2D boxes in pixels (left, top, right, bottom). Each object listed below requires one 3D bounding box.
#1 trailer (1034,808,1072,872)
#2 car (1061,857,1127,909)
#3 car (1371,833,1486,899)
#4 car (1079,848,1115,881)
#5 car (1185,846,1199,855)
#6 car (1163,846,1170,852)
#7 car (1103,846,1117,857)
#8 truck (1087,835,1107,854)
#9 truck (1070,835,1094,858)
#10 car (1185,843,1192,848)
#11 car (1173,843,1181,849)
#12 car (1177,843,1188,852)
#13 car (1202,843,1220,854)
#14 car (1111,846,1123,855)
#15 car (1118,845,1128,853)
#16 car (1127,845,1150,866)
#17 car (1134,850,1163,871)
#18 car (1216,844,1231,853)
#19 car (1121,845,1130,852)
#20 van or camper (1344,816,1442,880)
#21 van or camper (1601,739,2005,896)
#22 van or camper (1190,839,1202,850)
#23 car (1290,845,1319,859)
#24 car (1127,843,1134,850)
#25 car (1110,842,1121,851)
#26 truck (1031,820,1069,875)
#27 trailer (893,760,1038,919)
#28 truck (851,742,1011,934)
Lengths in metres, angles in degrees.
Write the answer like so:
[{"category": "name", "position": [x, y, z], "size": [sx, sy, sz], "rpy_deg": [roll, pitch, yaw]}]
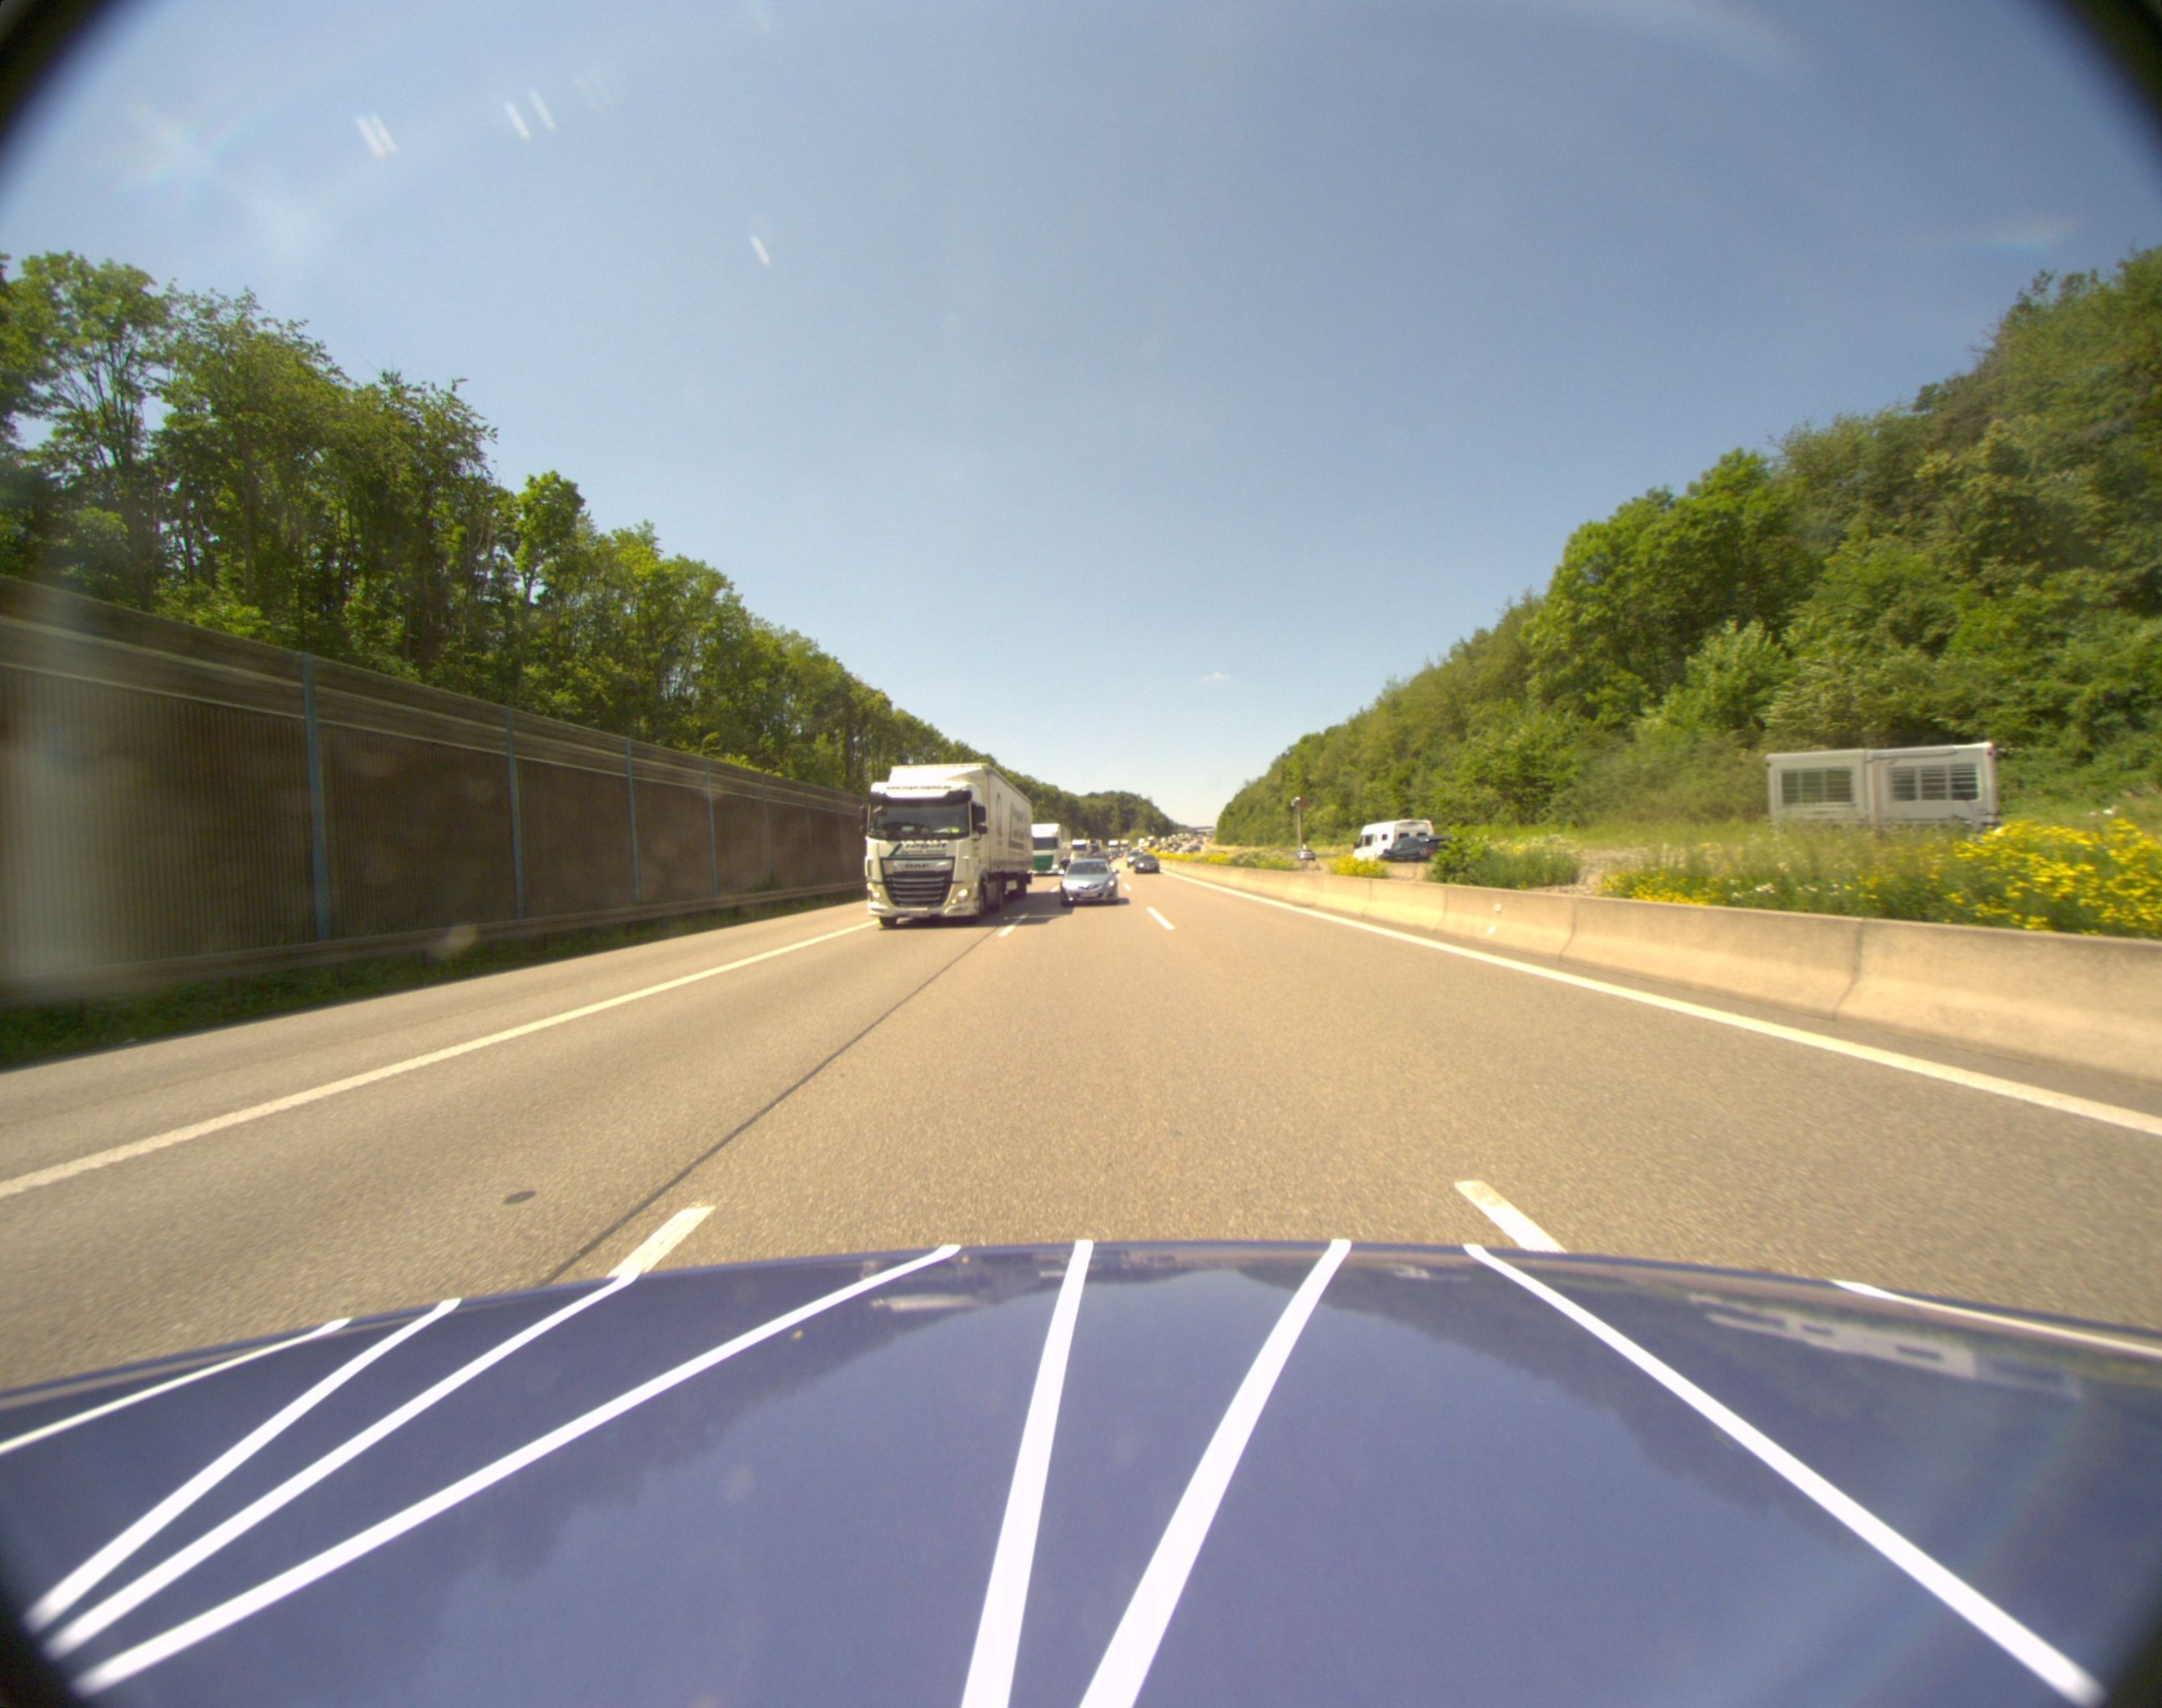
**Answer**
[{"category": "trailer", "position": [-2.281, -1.293, 68.046], "size": [2.574, 5.012, 15.267], "rpy_deg": [-2, 1, 1]}, {"category": "car", "position": [0.375, 0.859, 24.732], "size": [1.887, 1.459, 4.247], "rpy_deg": [-2, 0, 0]}, {"category": "car", "position": [11.292, 0.358, 25.014], "size": [1.998, 1.914, 4.000], "rpy_deg": [-2, 0, 2]}, {"category": "car", "position": [0.915, 0.552, 42.291], "size": [1.887, 1.696, 4.084], "rpy_deg": [-2, 0, 2]}, {"category": "car", "position": [20.949, -0.697, 143.264], "size": [1.998, 1.581, 4.162], "rpy_deg": [-2, 1, 1]}, {"category": "car", "position": [23.214, -1.355, 206.376], "size": [1.812, 1.477, 3.856], "rpy_deg": [-2, 0, 4]}, {"category": "car", "position": [4.624, -0.413, 120.819], "size": [1.998, 1.728, 4.000], "rpy_deg": [-2, 2, 4]}, {"category": "truck", "position": [3.190, -1.957, 152.073], "size": [3.557, 3.695, 7.551], "rpy_deg": [-2, 2, 4]}, {"category": "truck", "position": [0.203, -1.226, 119.694], "size": [3.262, 3.337, 6.863], "rpy_deg": [-2, 2, 5]}, {"category": "car", "position": [36.088, -2.969, 255.046], "size": [1.997, 1.607, 4.486], "rpy_deg": [-2, 0, 9]}, {"category": "car", "position": [29.849, -2.597, 236.744], "size": [1.998, 1.681, 4.401], "rpy_deg": [-2, 2, 4]}, {"category": "car", "position": [23.552, -1.559, 176.303], "size": [1.998, 2.002, 4.567], "rpy_deg": [-2, 2, 4]}, {"category": "car", "position": [18.761, -0.801, 110.088], "size": [1.998, 1.577, 4.273], "rpy_deg": [-2, 1, 2]}, {"category": "car", "position": [6.975, -0.702, 146.260], "size": [1.998, 1.728, 4.001], "rpy_deg": [-2, 2, 6]}, {"category": "car", "position": [9.442, -1.171, 171.436], "size": [1.997, 1.728, 4.001], "rpy_deg": [-2, 2, 8]}, {"category": "car", "position": [5.912, 0.112, 78.471], "size": [1.999, 2.002, 3.999], "rpy_deg": [-2, 2, 0]}, {"category": "car", "position": [5.049, 0.473, 56.985], "size": [1.720, 1.470, 3.999], "rpy_deg": [-2, 1, 0]}, {"category": "car", "position": [23.567, -0.910, 125.391], "size": [1.792, 1.448, 3.999], "rpy_deg": [-2, 1, 2]}, {"category": "car", "position": [11.345, -1.337, 194.904], "size": [1.998, 1.728, 4.001], "rpy_deg": [-2, 2, 6]}, {"category": "van or camper", "position": [15.556, -0.308, 38.392], "size": [2.263, 2.882, 6.556], "rpy_deg": [-2, 0, 1]}, {"category": "van or camper", "position": [18.655, -0.891, 20.889], "size": [2.546, 3.299, 9.000], "rpy_deg": [-2, 1, 0]}, {"category": "van or camper", "position": [28.459, -2.421, 187.621], "size": [2.191, 2.546, 6.931], "rpy_deg": [-2, 1, 3]}, {"category": "car", "position": [24.446, -0.215, 83.311], "size": [1.998, 1.424, 4.191], "rpy_deg": [-2, 0, 1]}, {"category": "car", "position": [15.133, -2.289, 231.084], "size": [1.998, 1.728, 4.001], "rpy_deg": [-2, 2, 6]}, {"category": "car", "position": [10.171, -2.348, 225.484], "size": [2.696, 2.468, 6.586], "rpy_deg": [-2, 2, 8]}, {"category": "truck", "position": [-2.350, -0.537, 59.781], "size": [2.542, 4.007, 6.623], "rpy_deg": [-2, 2, 0]}, {"category": "trailer", "position": [-3.486, -0.382, 27.069], "size": [2.793, 4.180, 13.243], "rpy_deg": [-2, 0, 1]}, {"category": "truck", "position": [-3.631, -0.349, 19.955], "size": [2.793, 4.180, 5.869], "rpy_deg": [-2, 0, 1]}]
